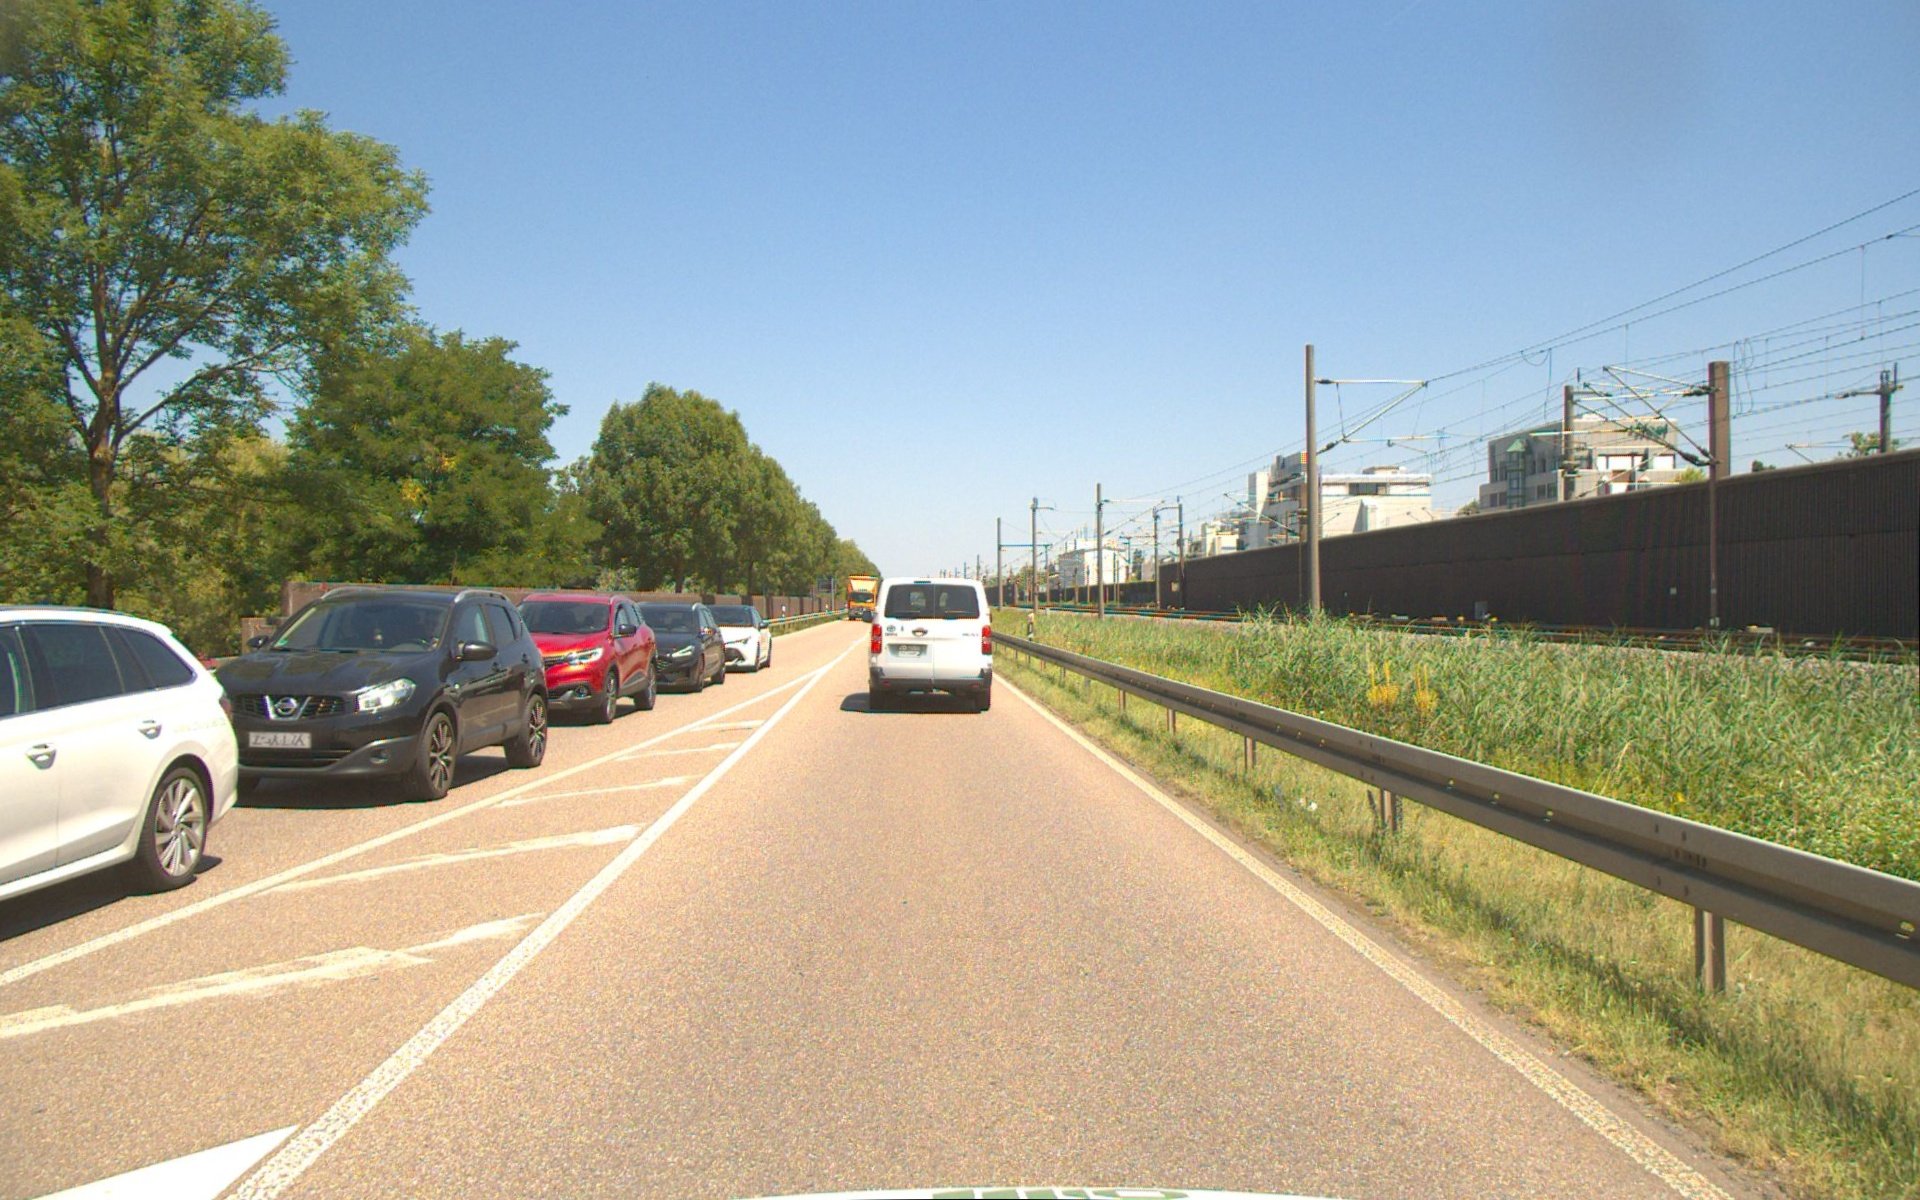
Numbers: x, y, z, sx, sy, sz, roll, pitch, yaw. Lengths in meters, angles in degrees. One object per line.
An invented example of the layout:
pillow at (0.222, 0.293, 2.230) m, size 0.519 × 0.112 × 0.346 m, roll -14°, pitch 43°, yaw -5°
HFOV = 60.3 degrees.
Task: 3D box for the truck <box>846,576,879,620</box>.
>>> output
truck at (-8.892, -0.139, 151.556) m, size 2.736 × 3.907 × 9.320 m, roll 1°, pitch 0°, yaw -2°

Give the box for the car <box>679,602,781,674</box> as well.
car at (-5.083, 0.807, 37.122) m, size 1.651 × 1.485 × 4.615 m, roll 1°, pitch 0°, yaw 0°

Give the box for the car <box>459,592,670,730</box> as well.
car at (-5.176, 0.736, 22.227) m, size 1.719 × 1.660 × 4.279 m, roll 1°, pitch 0°, yaw 1°

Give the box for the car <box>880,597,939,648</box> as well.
car at (-1.779, 0.753, 57.005) m, size 1.868 × 1.678 × 4.138 m, roll 1°, pitch 0°, yaw -4°

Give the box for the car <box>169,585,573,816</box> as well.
car at (-4.717, 0.713, 14.020) m, size 1.681 × 1.617 × 4.535 m, roll 1°, pitch 0°, yaw 1°

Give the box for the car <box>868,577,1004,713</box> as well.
car at (-0.422, 0.661, 25.859) m, size 1.906 × 1.914 × 4.878 m, roll 1°, pitch -1°, yaw -2°

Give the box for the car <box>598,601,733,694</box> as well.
car at (-5.142, 0.791, 29.386) m, size 1.651 × 1.485 × 4.614 m, roll 1°, pitch 0°, yaw -1°

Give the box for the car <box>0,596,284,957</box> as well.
car at (-4.808, 0.734, 7.292) m, size 1.619 × 1.504 × 4.631 m, roll 1°, pitch 0°, yaw 2°
